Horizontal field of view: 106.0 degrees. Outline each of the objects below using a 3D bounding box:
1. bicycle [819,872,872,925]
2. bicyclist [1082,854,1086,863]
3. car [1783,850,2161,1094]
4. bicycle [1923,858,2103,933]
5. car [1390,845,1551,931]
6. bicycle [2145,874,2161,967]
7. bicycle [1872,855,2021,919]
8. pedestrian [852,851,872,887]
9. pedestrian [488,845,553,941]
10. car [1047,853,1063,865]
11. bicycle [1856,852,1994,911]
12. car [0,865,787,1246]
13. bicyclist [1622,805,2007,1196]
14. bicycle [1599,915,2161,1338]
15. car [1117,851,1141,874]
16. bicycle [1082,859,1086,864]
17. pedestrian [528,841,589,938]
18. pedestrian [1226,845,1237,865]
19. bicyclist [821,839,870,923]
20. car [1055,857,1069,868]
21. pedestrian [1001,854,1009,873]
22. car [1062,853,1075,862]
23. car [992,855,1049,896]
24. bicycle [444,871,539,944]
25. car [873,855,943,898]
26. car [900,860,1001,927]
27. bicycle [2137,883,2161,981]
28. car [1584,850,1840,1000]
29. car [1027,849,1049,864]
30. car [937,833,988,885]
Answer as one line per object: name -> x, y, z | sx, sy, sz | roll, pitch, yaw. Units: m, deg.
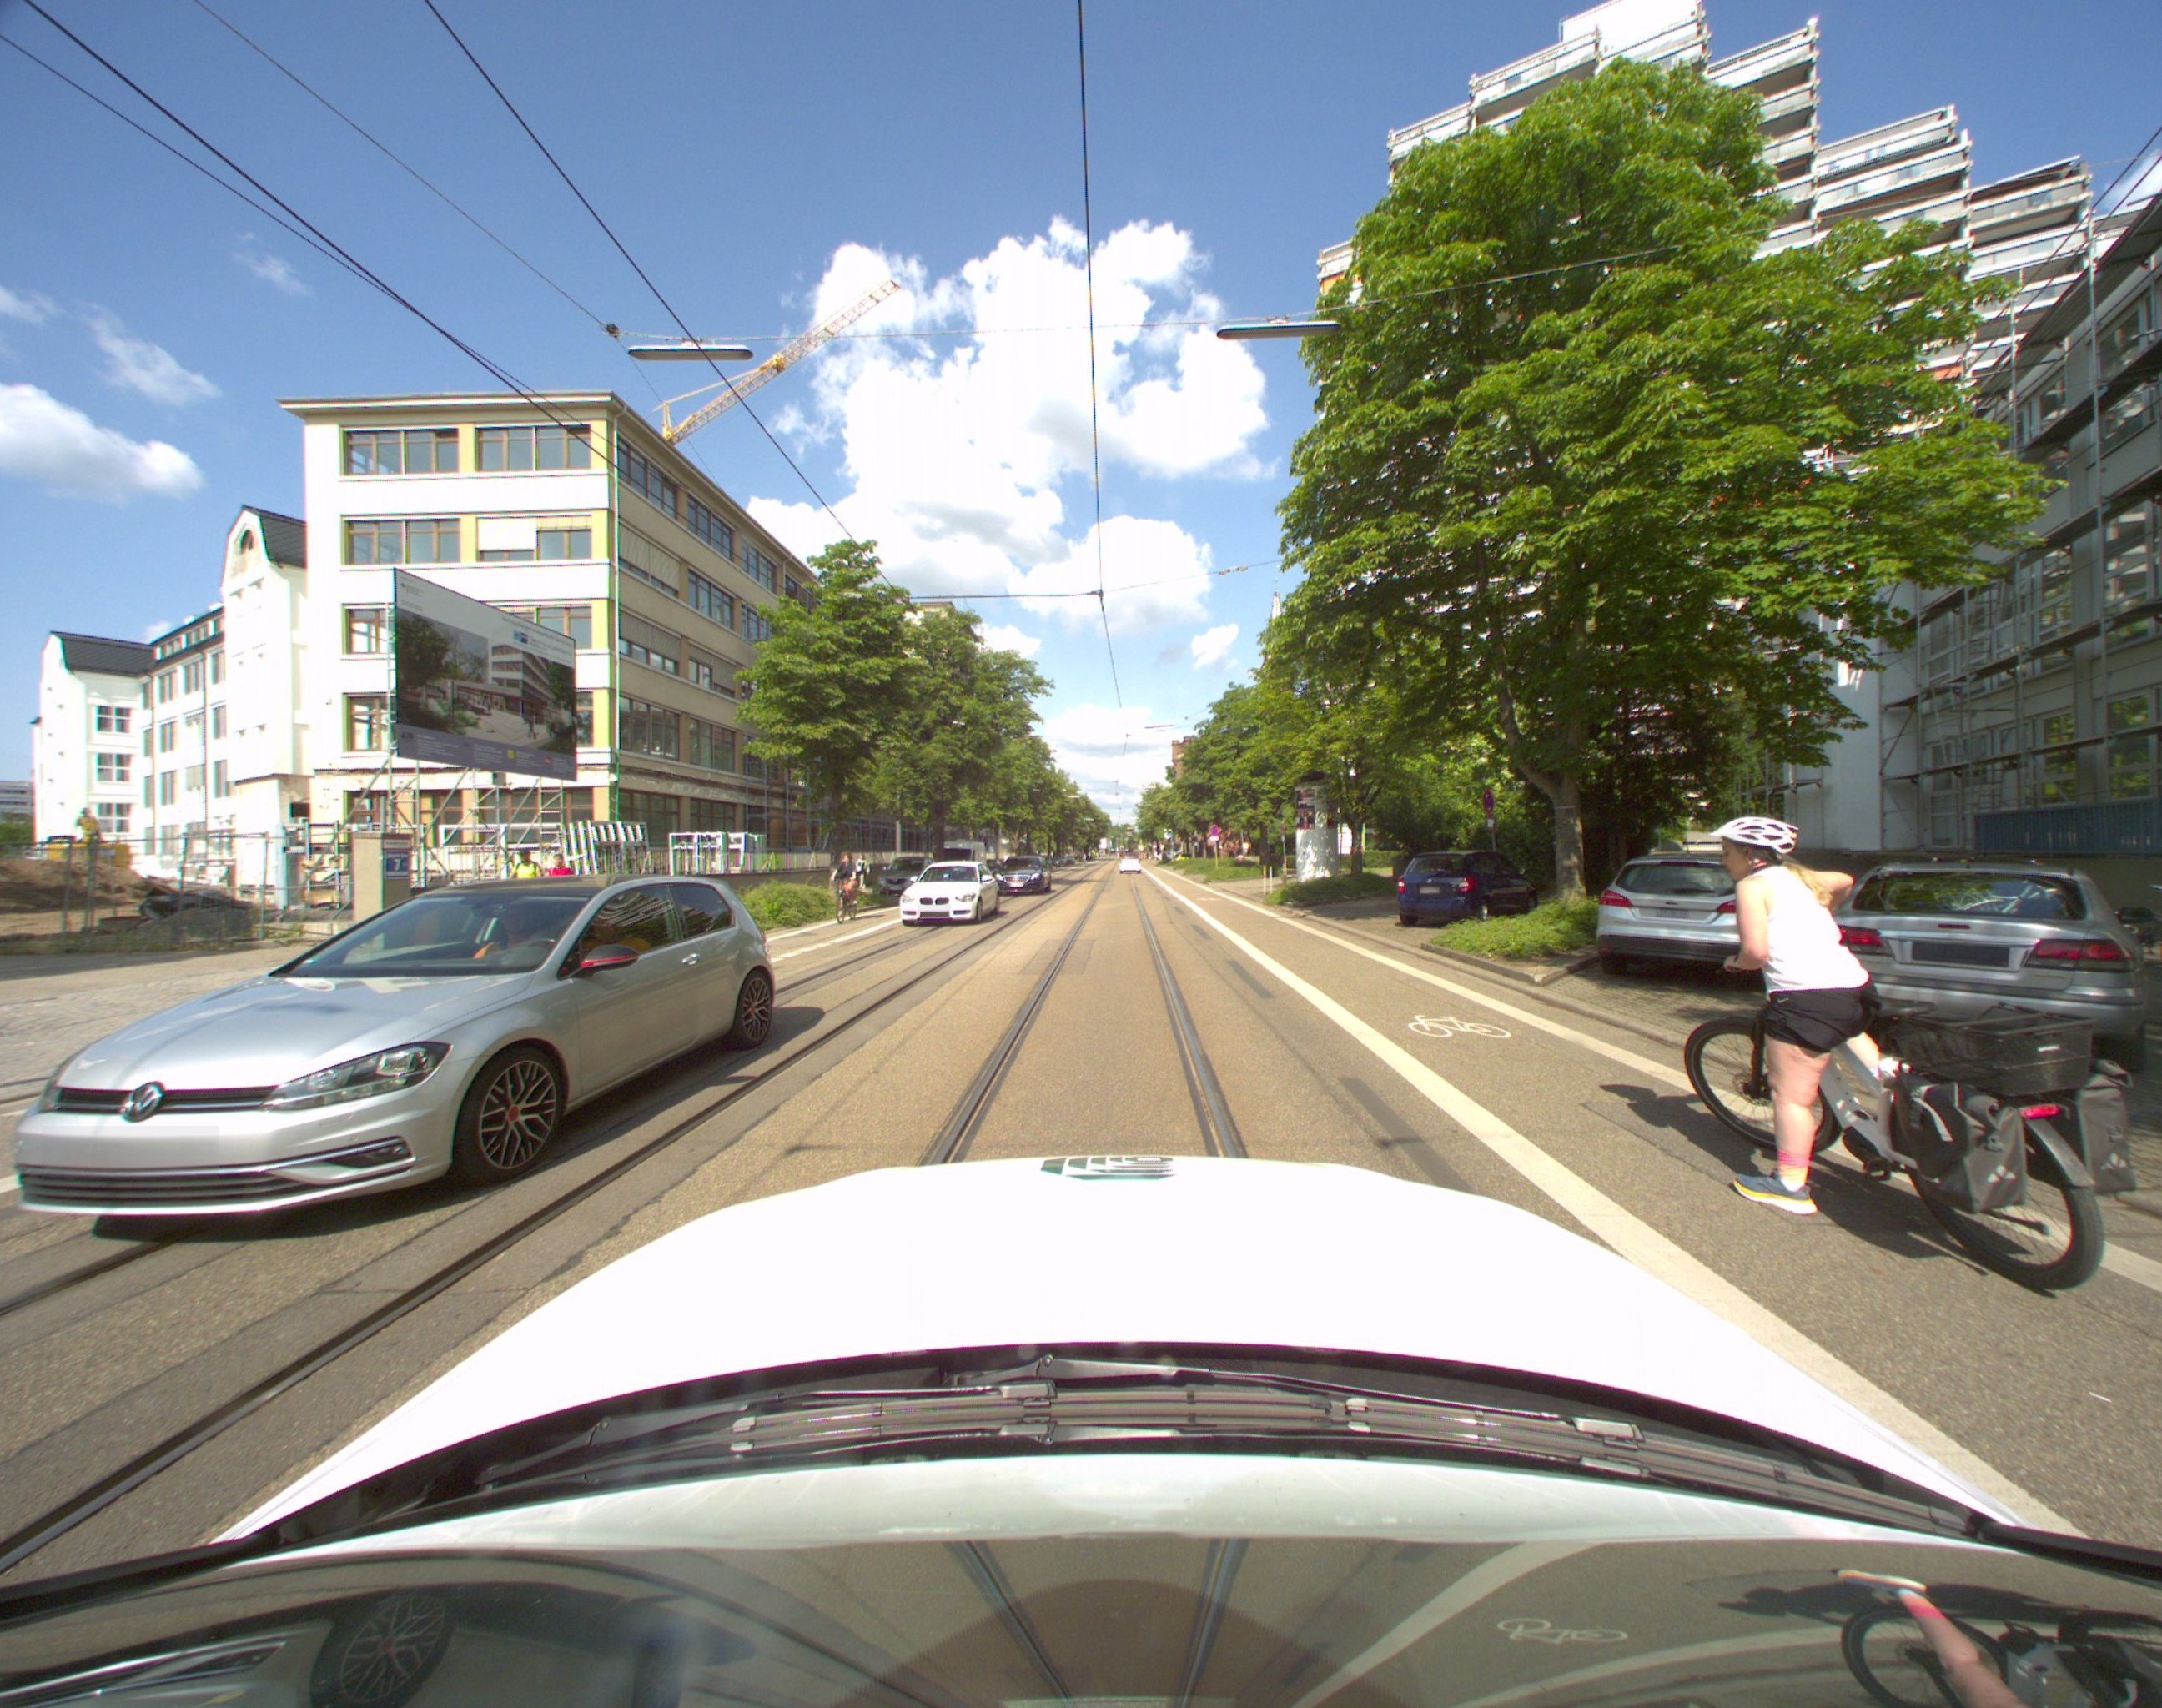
bicycle -> -5.858, 1.084, 20.363 | 0.641, 1.166, 1.945 | -4, 0, 2
bicyclist -> 0.589, 0.832, 144.828 | 0.656, 1.579, 0.946 | 1, 0, 1
car -> 7.672, 0.705, 6.863 | 4.261, 1.420, 1.705 | -1, 1, -36
bicycle -> 14.670, 0.652, 12.883 | 1.809, 1.095, 0.454 | -2, 2, 33
car -> 8.055, 0.612, 16.688 | 4.023, 1.486, 1.596 | -2, 0, -43
bicycle -> 13.655, 0.768, 9.230 | 1.877, 1.096, 0.454 | -2, 0, 33
bicycle -> 15.814, 0.584, 14.936 | 1.809, 1.096, 0.454 | -1, 1, 33
pedestrian -> -10.251, 0.697, 38.115 | 0.761, 1.620, 0.594 | 1, -1, 2
pedestrian -> -10.834, 0.733, 15.765 | 0.706, 1.793, 0.661 | 2, -1, -3
car -> -3.381, 0.634, 106.988 | 1.797, 1.516, 4.106 | -1, 0, 3
bicycle -> 16.463, 0.524, 15.945 | 1.809, 1.096, 0.454 | -1, 0, 33
car -> -3.534, 0.823, 5.122 | 1.766, 1.416, 3.855 | -2, 0, 3
bicyclist -> 3.272, 0.571, 3.787 | 0.884, 1.529, 1.087 | 1, 0, 8
bicycle -> 3.256, 0.911, 3.568 | 0.870, 1.126, 2.141 | -1, 0, 9
car -> 3.669, 0.645, 62.255 | 1.659, 1.624, 3.621 | -1, 0, 1
bicycle -> 0.581, 1.329, 144.804 | 0.616, 0.973, 1.717 | -1, 0, 0
pedestrian -> -10.141, 0.673, 15.833 | 0.706, 1.831, 0.661 | 2, 1, -3
pedestrian -> 15.954, 0.104, 86.591 | 0.973, 2.014, 1.094 | 1, 0, 1
bicyclist -> -5.871, 0.665, 20.362 | 0.873, 2.014, 0.834 | -3, -1, 1
car -> -2.811, 1.209, 119.575 | 1.797, 1.516, 4.106 | 1, 0, 3
pedestrian -> -7.972, 0.994, 85.705 | 0.802, 2.013, 0.484 | -1, 0, -7
car -> -2.010, 0.554, 131.646 | 1.797, 1.516, 4.106 | -1, 0, 3
car -> -2.324, 0.799, 32.499 | 1.793, 1.508, 4.538 | 0, 0, 2
bicycle -> -11.354, 1.005, 15.762 | 0.444, 1.286, 1.740 | -1, 0, 5
car -> -7.058, 0.877, 33.679 | 1.797, 1.662, 4.106 | 1, 0, 3
car -> -3.020, 0.861, 19.667 | 1.681, 1.405, 4.226 | -1, 0, 0
bicycle -> 12.784, 0.838, 8.626 | 1.877, 1.053, 0.454 | -2, 0, 33
car -> 7.815, 0.704, 9.973 | 3.824, 1.474, 1.634 | 0, 1, -39
car -> -4.478, 0.266, 85.074 | 1.797, 1.516, 4.106 | -1, 0, 3
car -> -6.374, 0.271, 44.345 | 1.762, 2.639, 5.325 | 1, 0, 2
